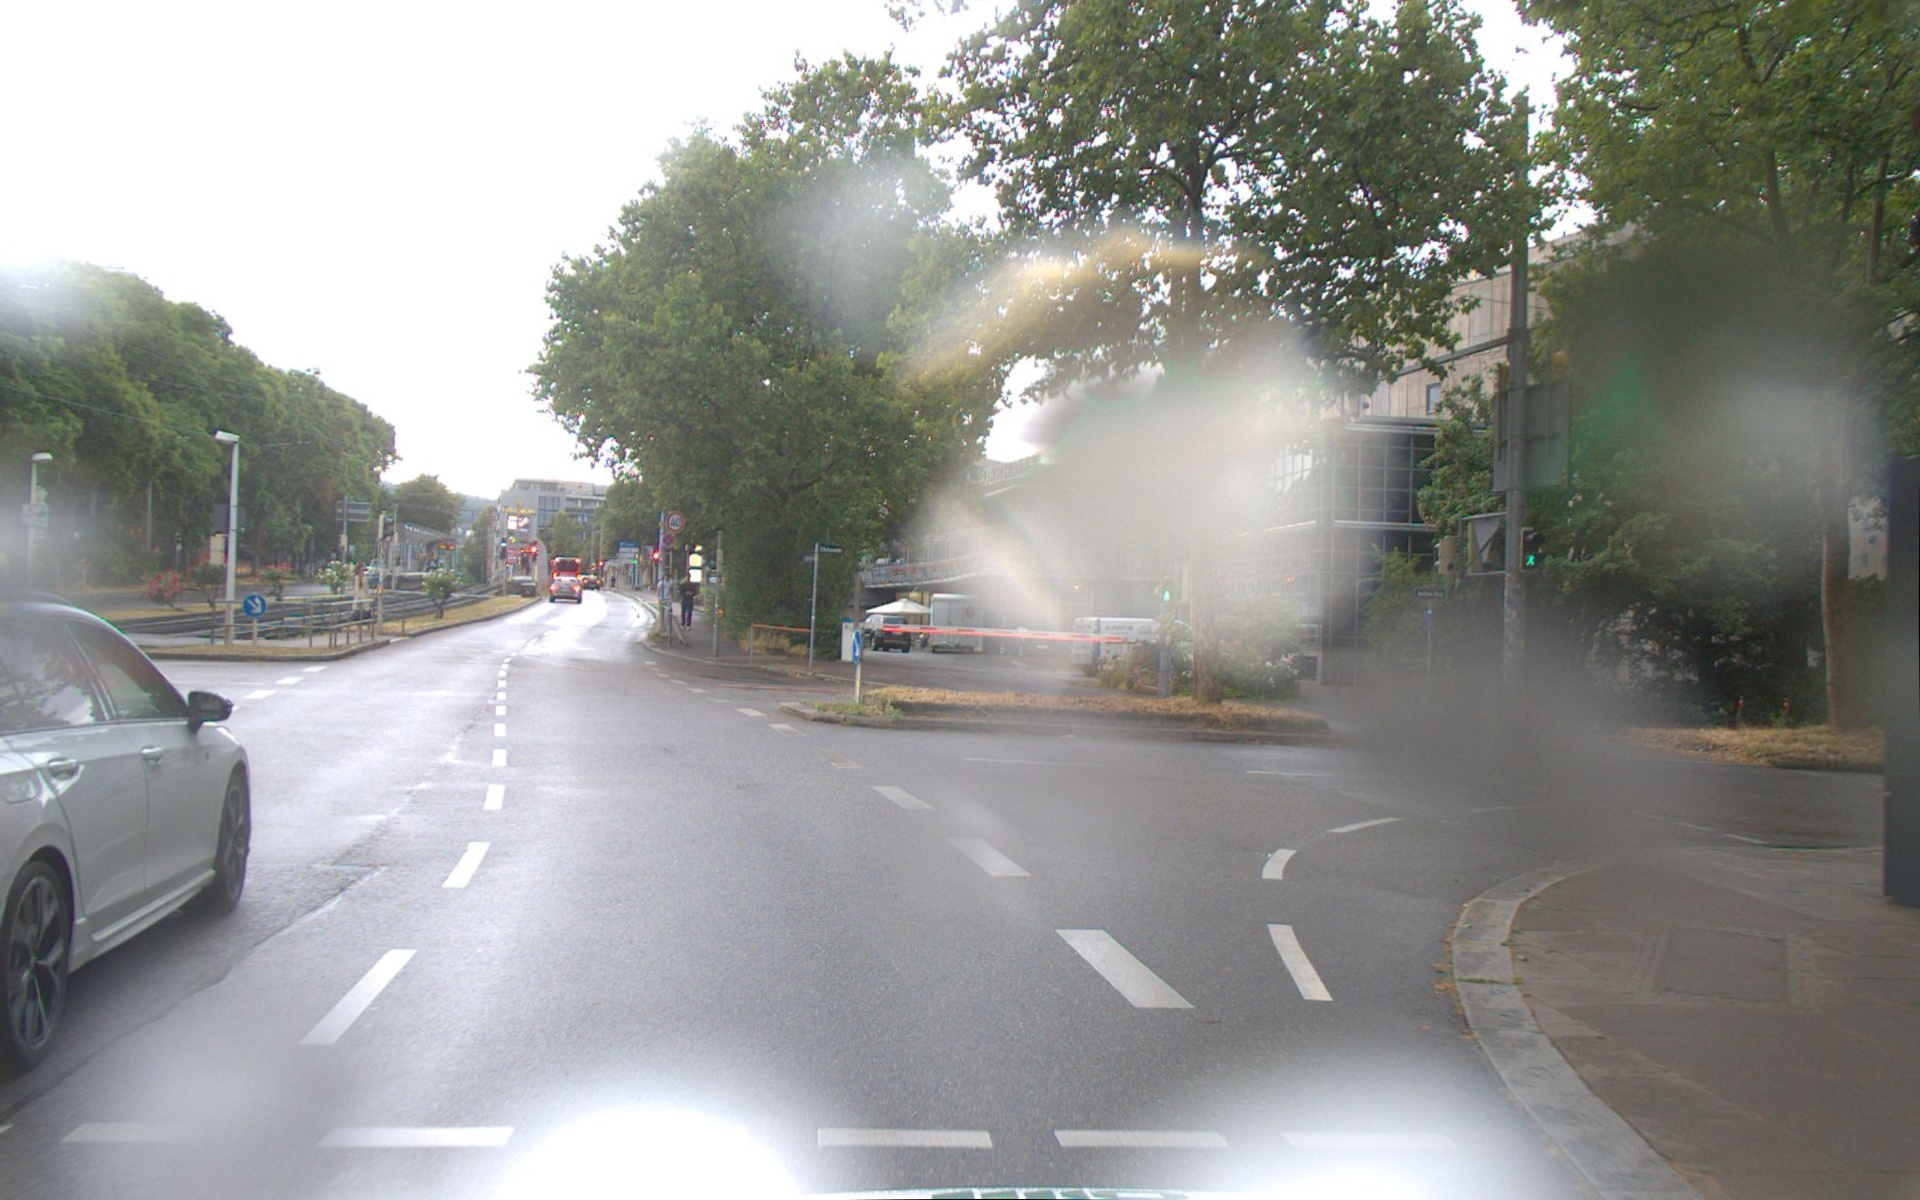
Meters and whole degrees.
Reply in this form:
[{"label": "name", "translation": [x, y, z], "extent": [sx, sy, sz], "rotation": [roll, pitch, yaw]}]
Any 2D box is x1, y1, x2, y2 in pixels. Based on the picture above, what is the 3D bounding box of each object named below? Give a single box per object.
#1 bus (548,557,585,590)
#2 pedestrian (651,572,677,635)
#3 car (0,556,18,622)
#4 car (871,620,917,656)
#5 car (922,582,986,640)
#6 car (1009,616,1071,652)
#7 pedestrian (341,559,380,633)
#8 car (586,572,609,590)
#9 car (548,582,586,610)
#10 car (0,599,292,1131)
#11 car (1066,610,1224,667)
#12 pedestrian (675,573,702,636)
[{"label": "bus", "translation": [-40.356, -2.657, 169.652], "extent": [3.529, 3.226, 10.384], "rotation": [0, 0, -13]}, {"label": "pedestrian", "translation": [-9.830, 0.109, 54.950], "extent": [0.799, 2.049, 1.075], "rotation": [0, 0, -8]}, {"label": "car", "translation": [-28.452, -0.332, 46.462], "extent": [1.884, 1.883, 4.558], "rotation": [1, 0, -8]}, {"label": "car", "translation": [-3.245, 1.848, 81.838], "extent": [1.978, 1.578, 4.351], "rotation": [2, 0, 1]}, {"label": "car", "translation": [-0.391, 0.507, 85.361], "extent": [2.678, 2.742, 6.915], "rotation": [2, 0, -5]}, {"label": "car", "translation": [4.001, 1.683, 83.223], "extent": [1.985, 1.578, 4.336], "rotation": [2, 0, -13]}, {"label": "pedestrian", "translation": [-15.155, -0.104, 41.836], "extent": [0.856, 1.834, 0.864], "rotation": [2, 0, -18]}, {"label": "car", "translation": [-38.325, -2.020, 174.668], "extent": [2.323, 1.848, 5.165], "rotation": [0, 0, -13]}, {"label": "car", "translation": [-22.446, -0.248, 94.643], "extent": [1.958, 1.545, 4.338], "rotation": [0, 0, -12]}, {"label": "car", "translation": [-3.840, 0.748, 6.047], "extent": [1.764, 1.468, 4.463], "rotation": [0, 0, -11]}, {"label": "car", "translation": [6.305, 1.320, 56.270], "extent": [5.135, 1.761, 1.859], "rotation": [2, 0, -26]}, {"label": "pedestrian", "translation": [-9.041, 0.147, 55.124], "extent": [0.858, 2.049, 1.075], "rotation": [0, 0, -8]}]
